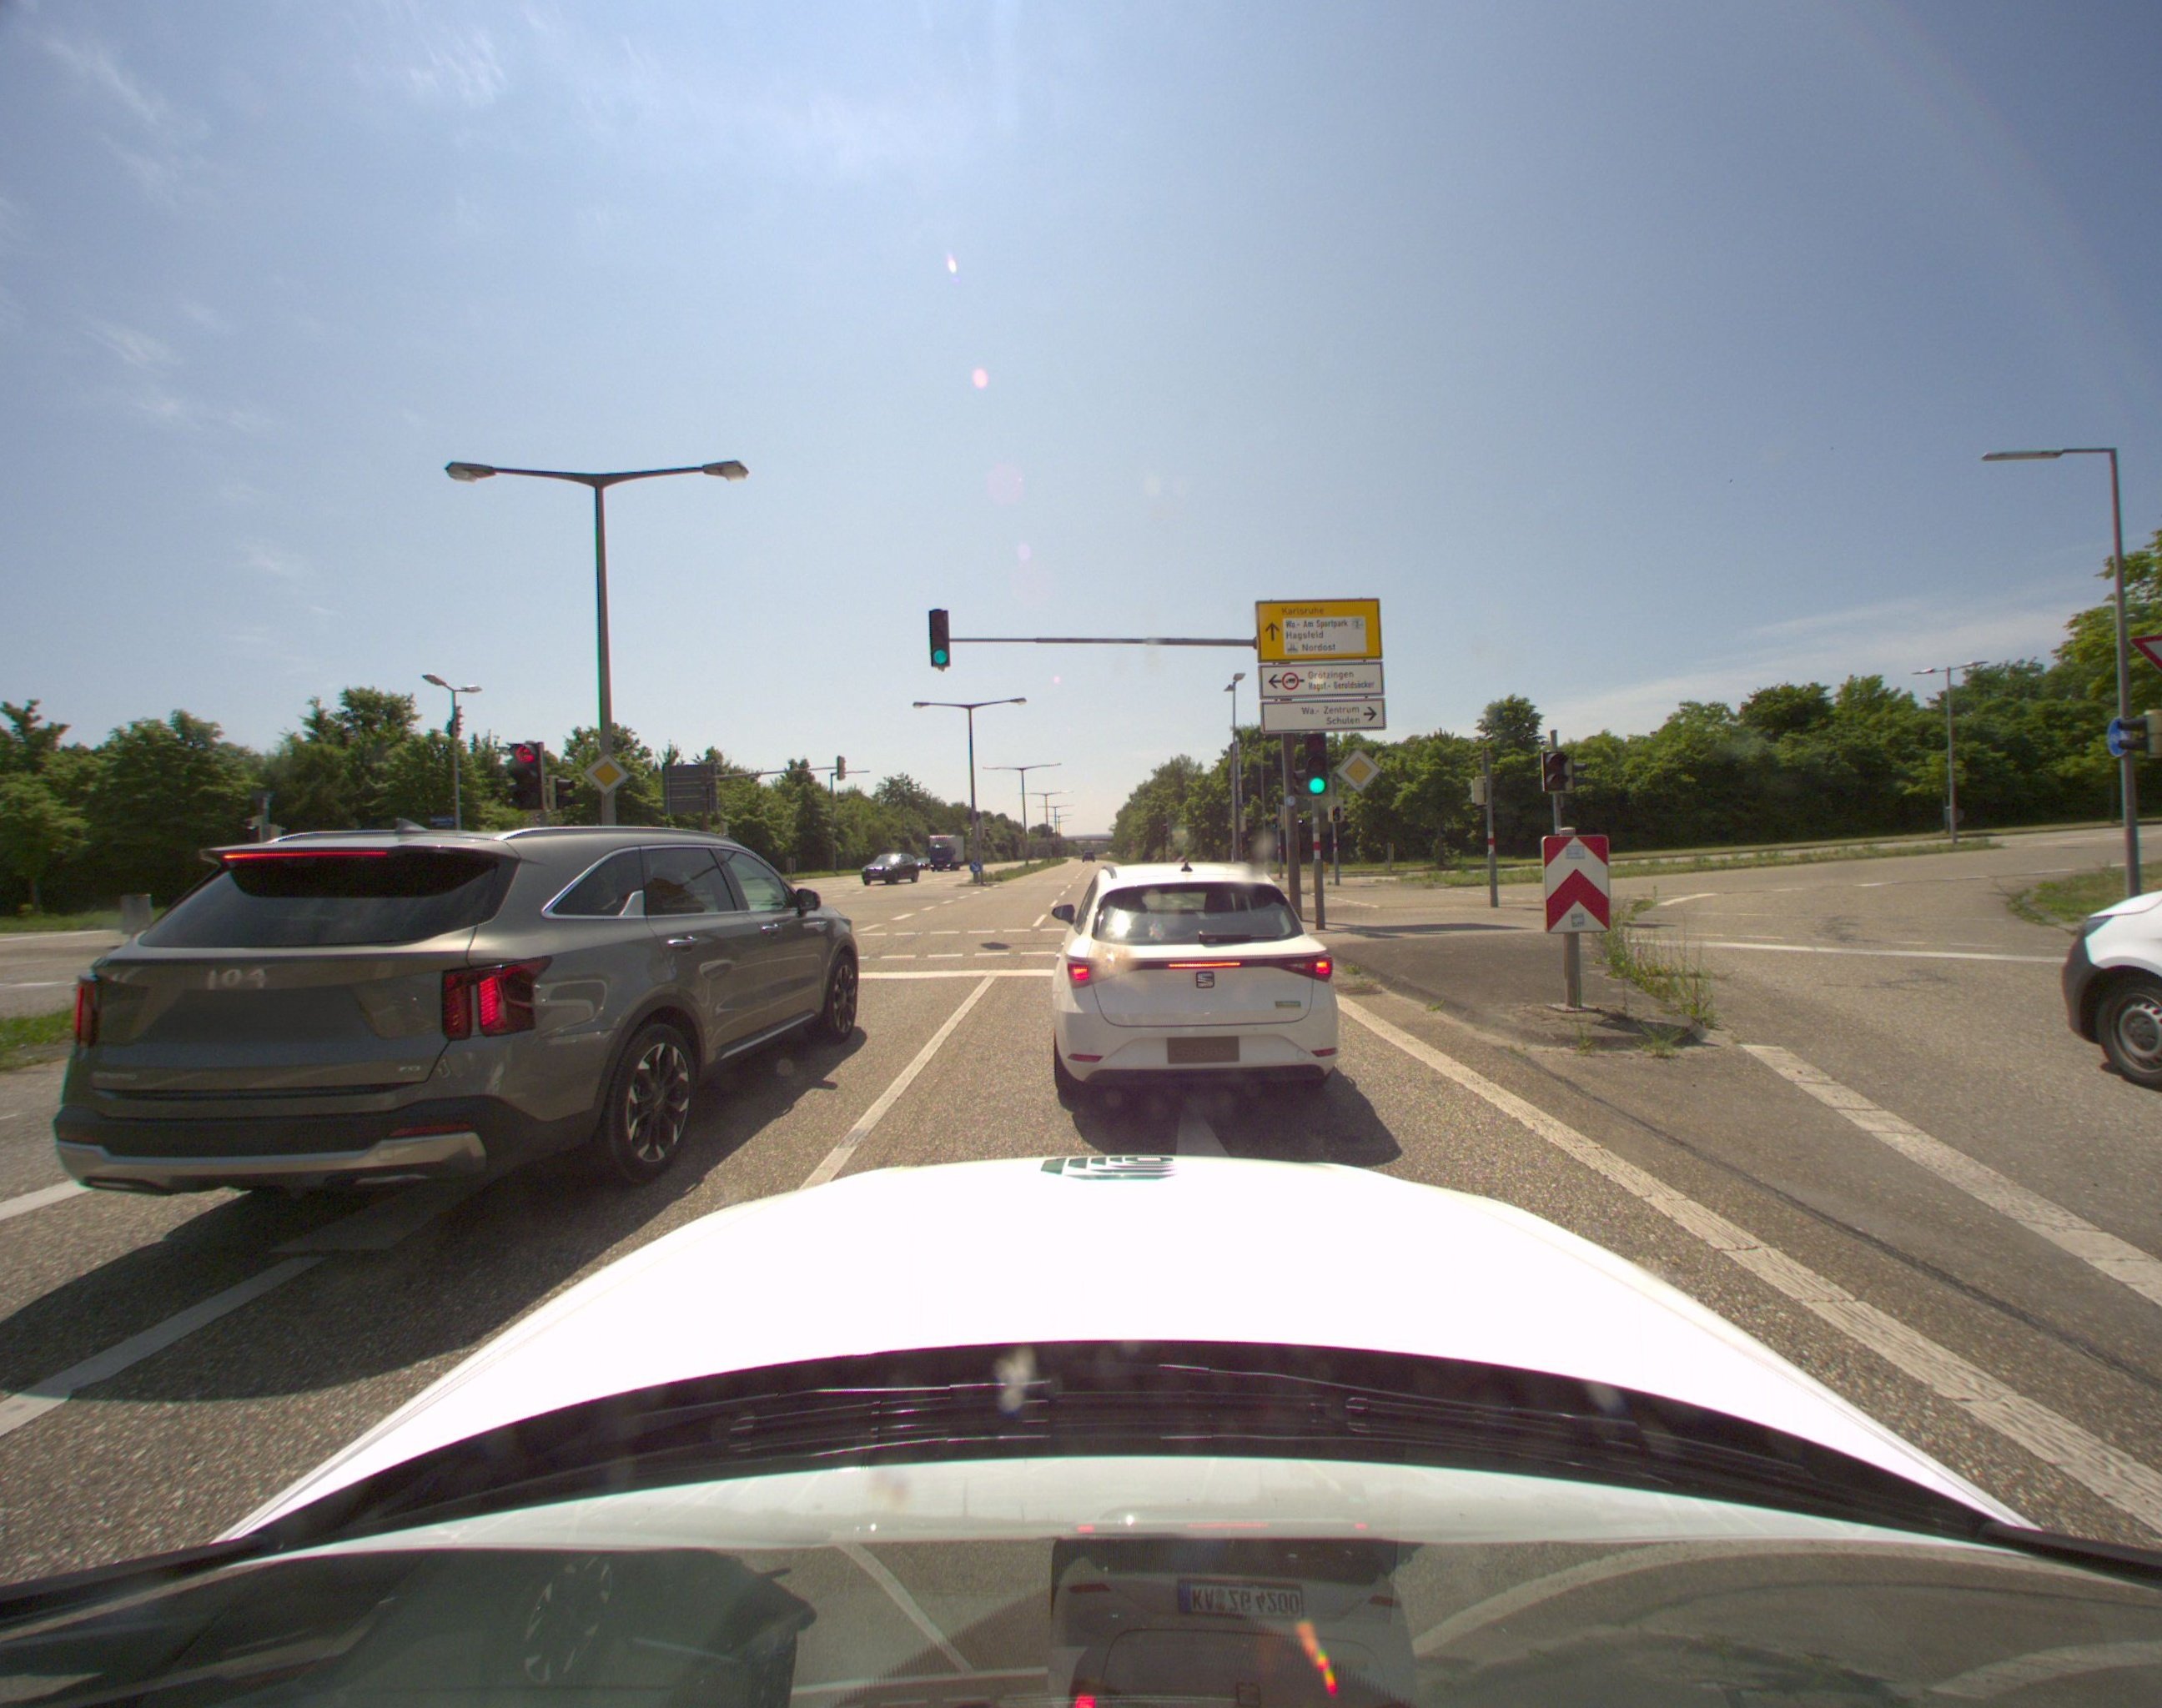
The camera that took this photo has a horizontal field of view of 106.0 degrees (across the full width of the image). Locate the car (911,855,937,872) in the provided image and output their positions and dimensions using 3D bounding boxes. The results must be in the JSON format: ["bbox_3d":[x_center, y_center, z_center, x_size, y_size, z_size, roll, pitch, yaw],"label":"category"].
[{"bbox_3d":[-17.326,1.018,90.067,1.816,1.732,4.928,-2,0,2],"label":"car"}]

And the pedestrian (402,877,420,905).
[{"bbox_3d":[-36.727,2.018,44.646,0.620,1.503,0.790,-2,0,-34],"label":"pedestrian"}]

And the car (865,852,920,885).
[{"bbox_3d":[-10.554,0.776,45.828,1.699,1.663,4.229,-2,0,5],"label":"car"}]

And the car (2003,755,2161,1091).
[{"bbox_3d":[6.325,0.368,2.745,1.846,1.818,4.929,-2,0,15],"label":"car"}]

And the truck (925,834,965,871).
[{"bbox_3d":[-13.875,-0.153,83.502,2.677,3.570,7.269,-2,0,1],"label":"truck"}]

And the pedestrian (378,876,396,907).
[{"bbox_3d":[-37.576,2.031,44.119,0.620,1.603,0.790,-2,0,-34],"label":"pedestrian"}]

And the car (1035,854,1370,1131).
[{"bbox_3d":[0.688,0.737,6.085,1.728,1.428,3.696,0,-1,2],"label":"car"}]

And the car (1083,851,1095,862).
[{"bbox_3d":[1.334,0.462,136.652,1.848,1.709,4.000,-2,0,1],"label":"car"}]

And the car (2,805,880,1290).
[{"bbox_3d":[-2.855,0.692,5.211,1.797,1.662,4.646,-2,0,2],"label":"car"}]
